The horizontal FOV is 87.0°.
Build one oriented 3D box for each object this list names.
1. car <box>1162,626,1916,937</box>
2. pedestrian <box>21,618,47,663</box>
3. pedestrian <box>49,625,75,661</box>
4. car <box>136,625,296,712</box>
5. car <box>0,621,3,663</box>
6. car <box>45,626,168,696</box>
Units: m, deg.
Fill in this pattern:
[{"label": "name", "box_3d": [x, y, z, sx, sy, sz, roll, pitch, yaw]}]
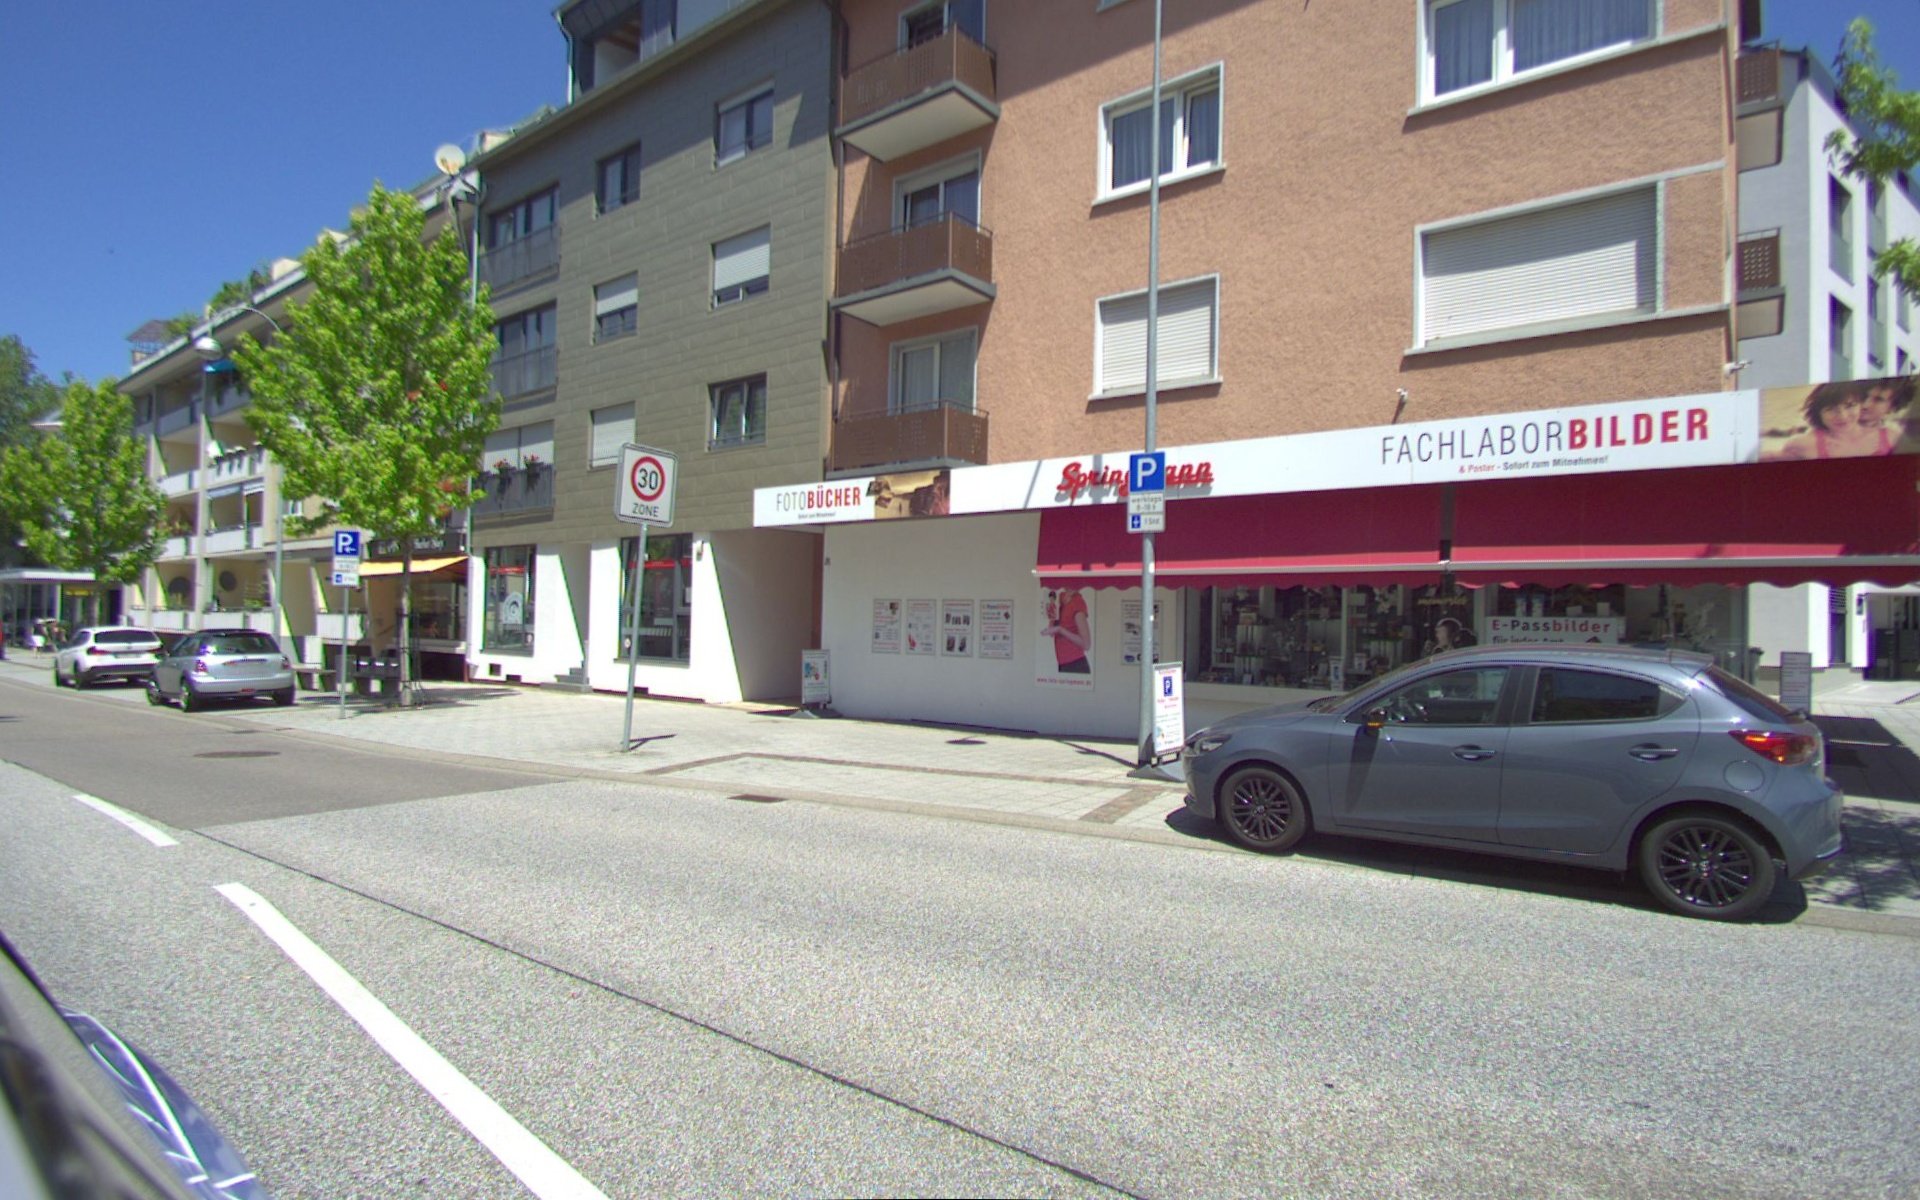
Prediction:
[{"label": "car", "box_3d": [3.614, 0.960, 6.944, 4.052, 1.497, 1.652, -1, 0, 36]}, {"label": "pedestrian", "box_3d": [-38.216, 1.664, 41.782, 0.657, 1.818, 0.687, 2, -3, -36]}, {"label": "pedestrian", "box_3d": [-37.936, 1.809, 42.758, 0.767, 1.510, 0.698, 3, -3, -40]}, {"label": "car", "box_3d": [-14.142, 1.241, 19.191, 3.545, 1.485, 1.605, -1, -3, 40]}, {"label": "car", "box_3d": [-40.119, 1.697, 40.943, 3.367, 1.674, 1.624, -1, -1, 39]}, {"label": "car", "box_3d": [-22.026, 1.509, 26.072, 4.295, 1.604, 1.678, -1, 0, 40]}]
